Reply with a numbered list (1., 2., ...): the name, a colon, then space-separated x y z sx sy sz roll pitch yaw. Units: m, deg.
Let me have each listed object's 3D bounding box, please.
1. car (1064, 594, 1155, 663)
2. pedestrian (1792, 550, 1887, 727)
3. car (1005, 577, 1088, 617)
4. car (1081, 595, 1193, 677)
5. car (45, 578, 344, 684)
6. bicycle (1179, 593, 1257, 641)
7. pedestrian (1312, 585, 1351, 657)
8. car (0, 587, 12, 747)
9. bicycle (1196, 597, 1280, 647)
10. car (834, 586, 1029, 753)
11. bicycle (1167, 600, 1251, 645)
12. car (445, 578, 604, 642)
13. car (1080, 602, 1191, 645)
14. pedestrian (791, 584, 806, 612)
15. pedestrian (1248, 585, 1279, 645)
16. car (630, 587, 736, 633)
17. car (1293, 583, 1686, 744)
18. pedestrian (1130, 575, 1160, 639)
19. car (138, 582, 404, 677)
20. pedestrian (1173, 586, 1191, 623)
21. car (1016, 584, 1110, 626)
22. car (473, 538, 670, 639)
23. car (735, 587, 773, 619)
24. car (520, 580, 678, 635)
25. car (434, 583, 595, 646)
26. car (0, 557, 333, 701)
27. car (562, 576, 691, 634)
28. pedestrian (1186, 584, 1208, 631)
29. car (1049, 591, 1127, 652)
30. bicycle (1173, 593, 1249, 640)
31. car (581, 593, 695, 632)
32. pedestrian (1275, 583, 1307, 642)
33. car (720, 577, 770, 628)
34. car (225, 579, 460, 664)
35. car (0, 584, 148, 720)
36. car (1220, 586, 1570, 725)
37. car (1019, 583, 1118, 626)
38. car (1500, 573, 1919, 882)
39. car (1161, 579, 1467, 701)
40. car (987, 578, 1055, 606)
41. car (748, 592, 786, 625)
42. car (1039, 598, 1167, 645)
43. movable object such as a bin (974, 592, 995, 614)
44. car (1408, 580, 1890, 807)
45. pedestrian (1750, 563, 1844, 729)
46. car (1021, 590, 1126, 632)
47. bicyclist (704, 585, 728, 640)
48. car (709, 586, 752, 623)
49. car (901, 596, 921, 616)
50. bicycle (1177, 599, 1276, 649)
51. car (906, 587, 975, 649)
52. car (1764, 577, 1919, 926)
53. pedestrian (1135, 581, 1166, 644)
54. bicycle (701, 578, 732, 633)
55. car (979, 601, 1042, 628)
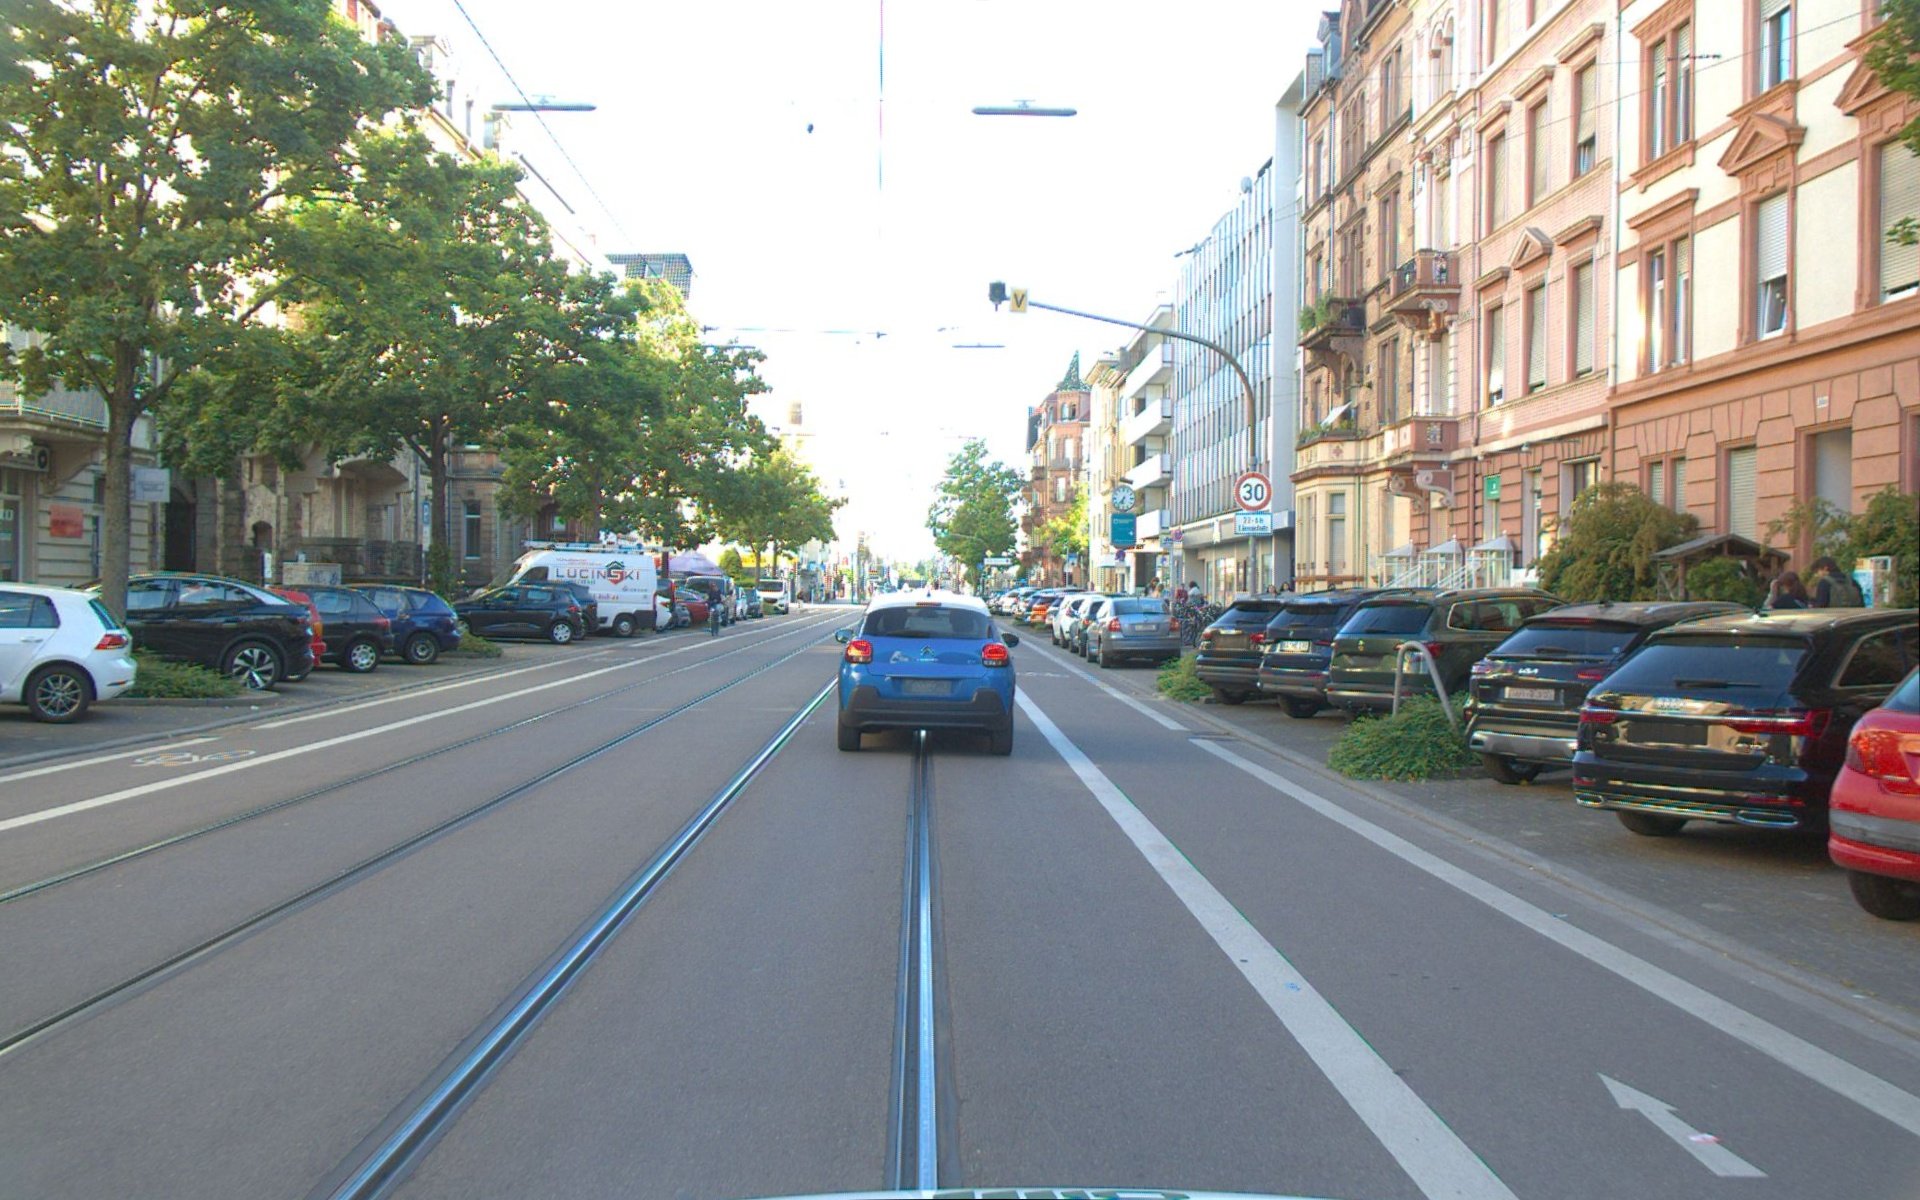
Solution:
1. car: 3.720 0.683 41.729 1.835 1.624 3.999 1 0 -1
2. pedestrian: 9.304 0.399 17.517 0.507 1.809 0.863 1 0 -1
3. car: 3.815 -0.108 73.022 3.417 1.668 1.662 2 0 -38
4. car: 3.774 0.741 36.033 1.835 1.624 4.718 1 0 -1
5. car: -11.773 0.473 25.509 3.951 1.515 1.846 2 0 -34
6. bicycle: 7.016 0.464 45.045 1.978 1.243 0.663 1 0 -2
7. pedestrian: 8.573 0.477 38.216 0.697 1.635 0.654 1 0 -2
8. car: -10.928 0.575 14.957 3.970 1.475 1.679 2 0 -34
9. bicycle: 7.127 0.556 42.465 2.015 1.243 0.663 1 0 -3
10. car: -0.304 0.634 16.724 1.727 1.466 3.555 1 0 -2
11. bicycle: 7.206 0.641 47.908 2.309 1.243 0.664 1 0 2
12. car: -11.894 0.270 45.233 3.939 1.646 1.698 2 0 -27
13. car: 6.511 0.881 61.289 3.735 1.513 1.819 2 0 -31
14. pedestrian: -10.176 -0.151 104.394 0.720 1.756 0.623 2 0 -25
15. pedestrian: 8.516 0.420 46.388 0.697 1.635 0.654 -2 0 -2
16. car: -10.572 0.379 63.031 3.672 1.651 1.777 2 0 -23
17. car: 5.907 0.676 18.457 3.938 1.624 1.943 2 0 -26
18. pedestrian: 5.025 0.197 44.940 0.697 1.701 0.654 1 0 -2
19. car: -11.801 0.503 28.392 3.951 1.515 1.785 2 0 -34
20. pedestrian: 9.739 0.207 72.532 0.678 1.615 0.678 1 0 -1
21. car: 4.171 0.197 66.925 3.409 1.582 1.804 2 0 -33
22. car: -11.346 -0.301 48.462 5.316 2.797 1.787 2 0 -31
23. car: -10.463 0.148 84.174 1.713 1.513 4.038 1 0 -4
24. car: -11.599 0.255 53.280 4.713 1.646 1.692 2 0 -34
25. car: -11.568 0.368 42.974 3.925 1.515 1.797 1 0 -18
26. car: -11.098 0.396 22.724 4.314 1.814 1.973 2 0 -34
27. car: -11.257 0.181 55.895 3.939 1.848 1.698 2 0 -27
28. pedestrian: 9.054 0.280 63.258 0.678 1.786 0.678 1 0 -1
29. car: 3.589 0.580 47.032 1.835 1.624 3.999 1 0 -1
30. bicycle: 6.970 0.464 45.891 1.978 1.243 0.663 1 0 -2
31. car: -11.550 0.460 59.338 3.752 1.287 1.503 2 0 -27
32. pedestrian: 9.297 0.349 46.482 0.697 1.635 0.654 1 0 -2
33. car: -9.034 0.096 69.783 1.713 2.008 5.236 1 0 -4
34. car: -11.718 0.410 31.413 3.943 1.515 1.789 2 0 -29
35. car: -11.086 0.540 18.243 3.786 1.455 1.750 2 0 -27
36. car: 5.551 0.690 21.132 3.938 1.624 2.070 2 0 -26
37. car: 4.592 0.189 69.864 3.686 1.681 2.023 2 0 -34
38. car: 5.865 0.713 10.603 4.379 1.624 2.071 2 0 -26
39. car: 5.177 0.569 24.044 4.265 1.624 1.959 2 0 -34
40. car: 3.633 -0.483 98.633 3.601 1.601 1.850 2 0 -21
41. car: -11.347 0.476 97.549 1.794 1.880 4.213 1 0 -1
42. car: 4.991 0.753 57.488 4.394 1.534 1.520 2 0 -31
43. movable object such as a bin: 1.684 0.220 114.436 1.366 1.509 1.655 1 0 -1
44. car: 5.956 0.707 14.085 4.290 1.624 2.016 2 0 -39
45. pedestrian: 8.716 0.464 17.244 0.507 1.677 0.863 1 0 -1
46. car: 4.428 0.419 64.516 3.686 1.547 1.945 2 0 -34
47. bicyclist: -7.698 0.399 52.279 0.621 1.711 0.726 1 0 -1
48. car: -10.895 0.206 78.639 1.713 1.646 4.407 1 0 -4
49. car: -3.645 0.437 123.741 1.394 1.457 3.138 1 0 -1
50. bicycle: 7.099 0.633 44.096 2.487 1.243 0.663 1 0 -2
51. car: -0.549 0.496 46.950 1.835 1.624 3.999 1 0 -1
52. car: 6.150 0.728 8.175 3.938 1.563 1.903 2 0 -26
53. pedestrian: 5.033 0.316 43.693 0.697 1.635 0.654 1 0 -2
54. bicycle: -7.717 0.181 52.562 0.666 1.708 2.096 1 0 -1
55. car: 3.202 0.923 104.961 3.601 1.561 1.778 2 0 -21
